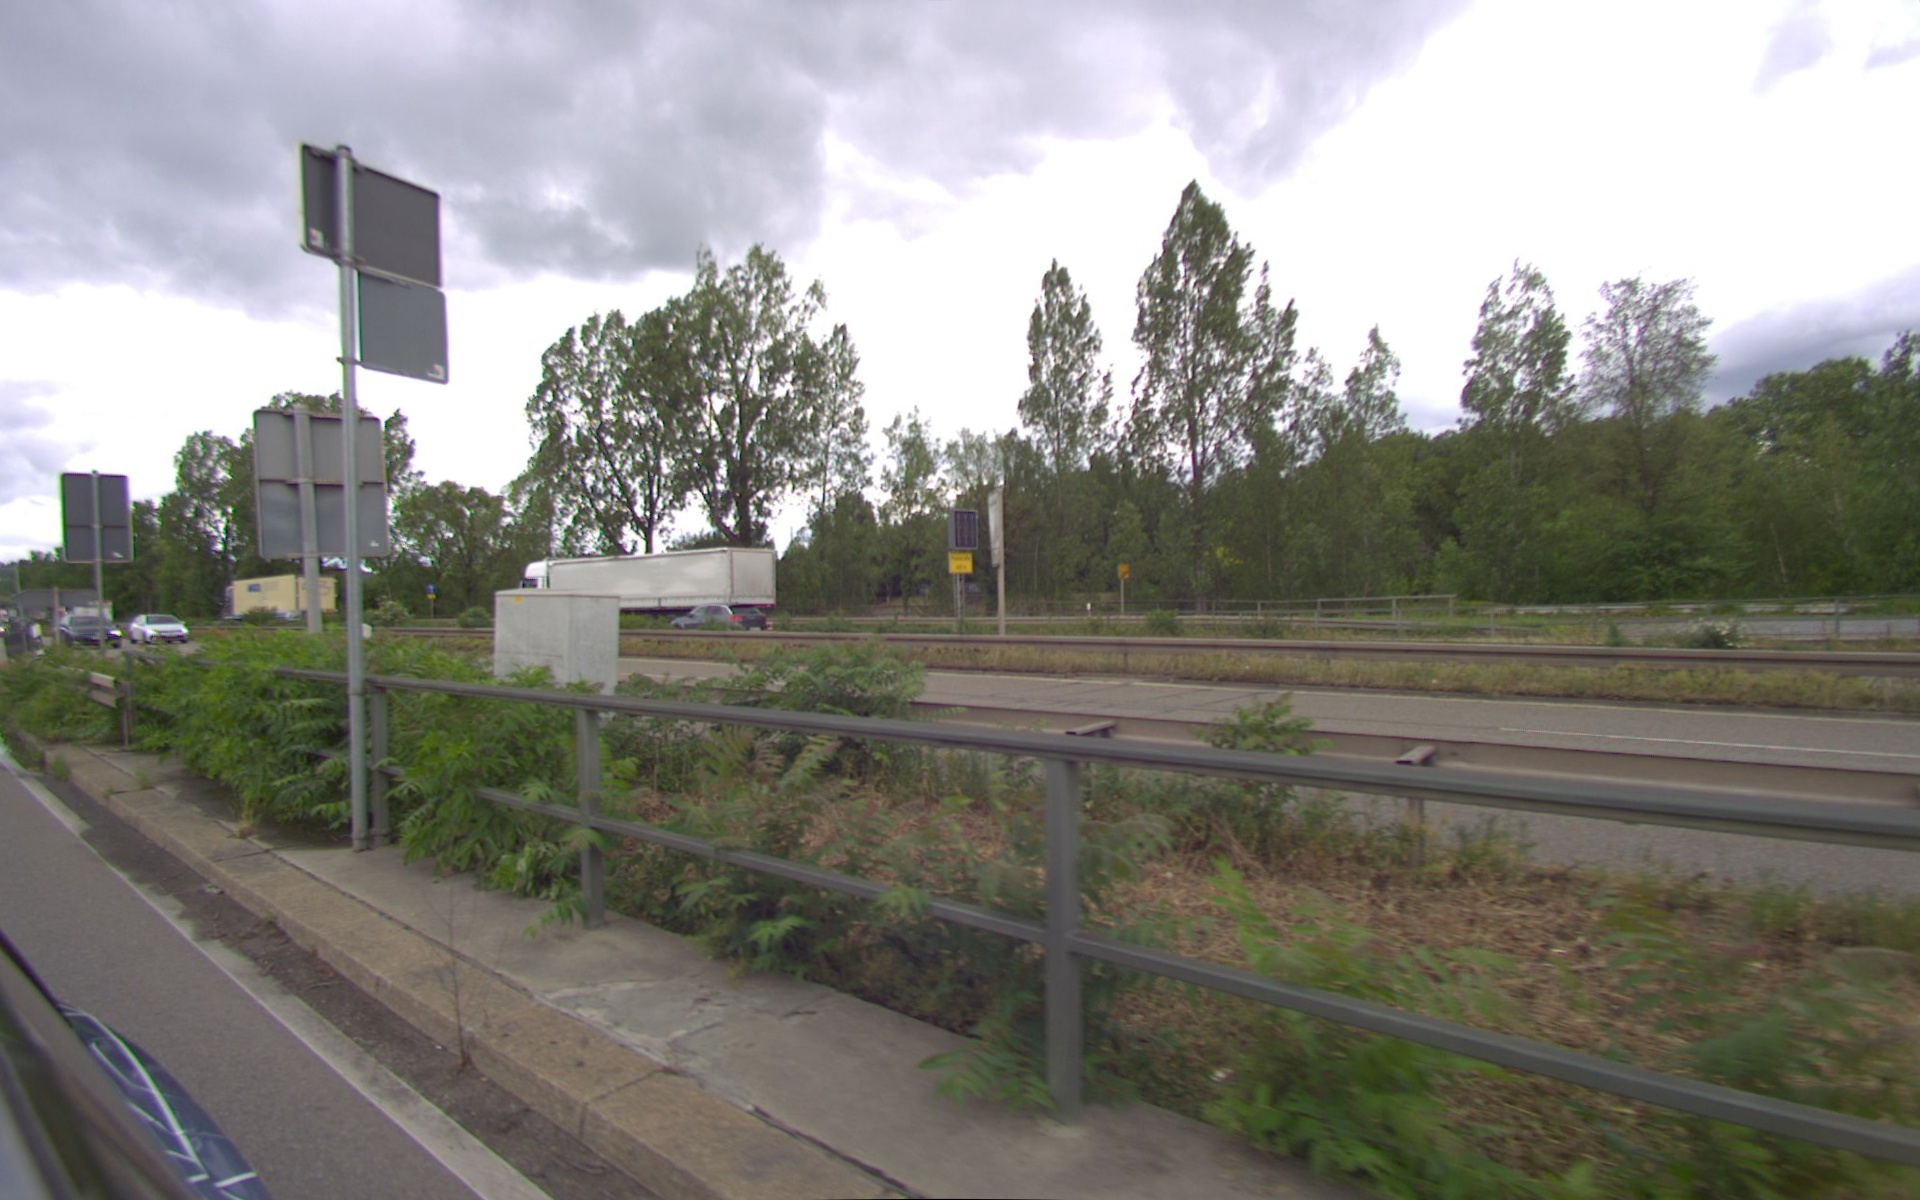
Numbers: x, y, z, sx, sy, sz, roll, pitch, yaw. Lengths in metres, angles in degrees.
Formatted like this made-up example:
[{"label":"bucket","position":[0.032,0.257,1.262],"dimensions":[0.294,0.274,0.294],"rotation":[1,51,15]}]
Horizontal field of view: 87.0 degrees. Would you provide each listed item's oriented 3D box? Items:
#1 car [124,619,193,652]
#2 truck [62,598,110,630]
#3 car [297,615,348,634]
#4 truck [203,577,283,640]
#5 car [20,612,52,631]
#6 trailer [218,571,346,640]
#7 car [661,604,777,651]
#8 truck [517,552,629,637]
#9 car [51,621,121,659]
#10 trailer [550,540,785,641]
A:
[{"label":"car","position":[-39.916,1.766,50.386],"dimensions":[3.995,1.511,1.836],"rotation":[-2,-1,39]},{"label":"truck","position":[-107.774,1.770,124.710],"dimensions":[6.324,3.670,2.957],"rotation":[-2,1,36]},{"label":"car","position":[-39.575,1.500,62.800],"dimensions":[3.613,0.938,1.635],"rotation":[1,4,40]},{"label":"truck","position":[-56.833,0.677,80.199],"dimensions":[6.202,4.708,3.431],"rotation":[-2,0,38]},{"label":"car","position":[-111.177,2.610,121.729],"dimensions":[3.992,2.028,1.976],"rotation":[-2,1,36]},{"label":"trailer","position":[-50.712,0.508,75.378],"dimensions":[14.761,4.708,3.431],"rotation":[-2,0,38]},{"label":"car","position":[-8.760,0.965,36.707],"dimensions":[3.993,1.533,1.975],"rotation":[-1,2,37]},{"label":"truck","position":[-19.143,-0.249,49.973],"dimensions":[5.306,3.966,2.763],"rotation":[-1,1,38]},{"label":"car","position":[-37.284,1.685,43.152],"dimensions":[4.305,1.512,1.913],"rotation":[-3,-2,44]},{"label":"trailer","position":[-13.496,-0.340,45.456],"dimensions":[13.496,3.978,2.763],"rotation":[-1,1,39]}]
